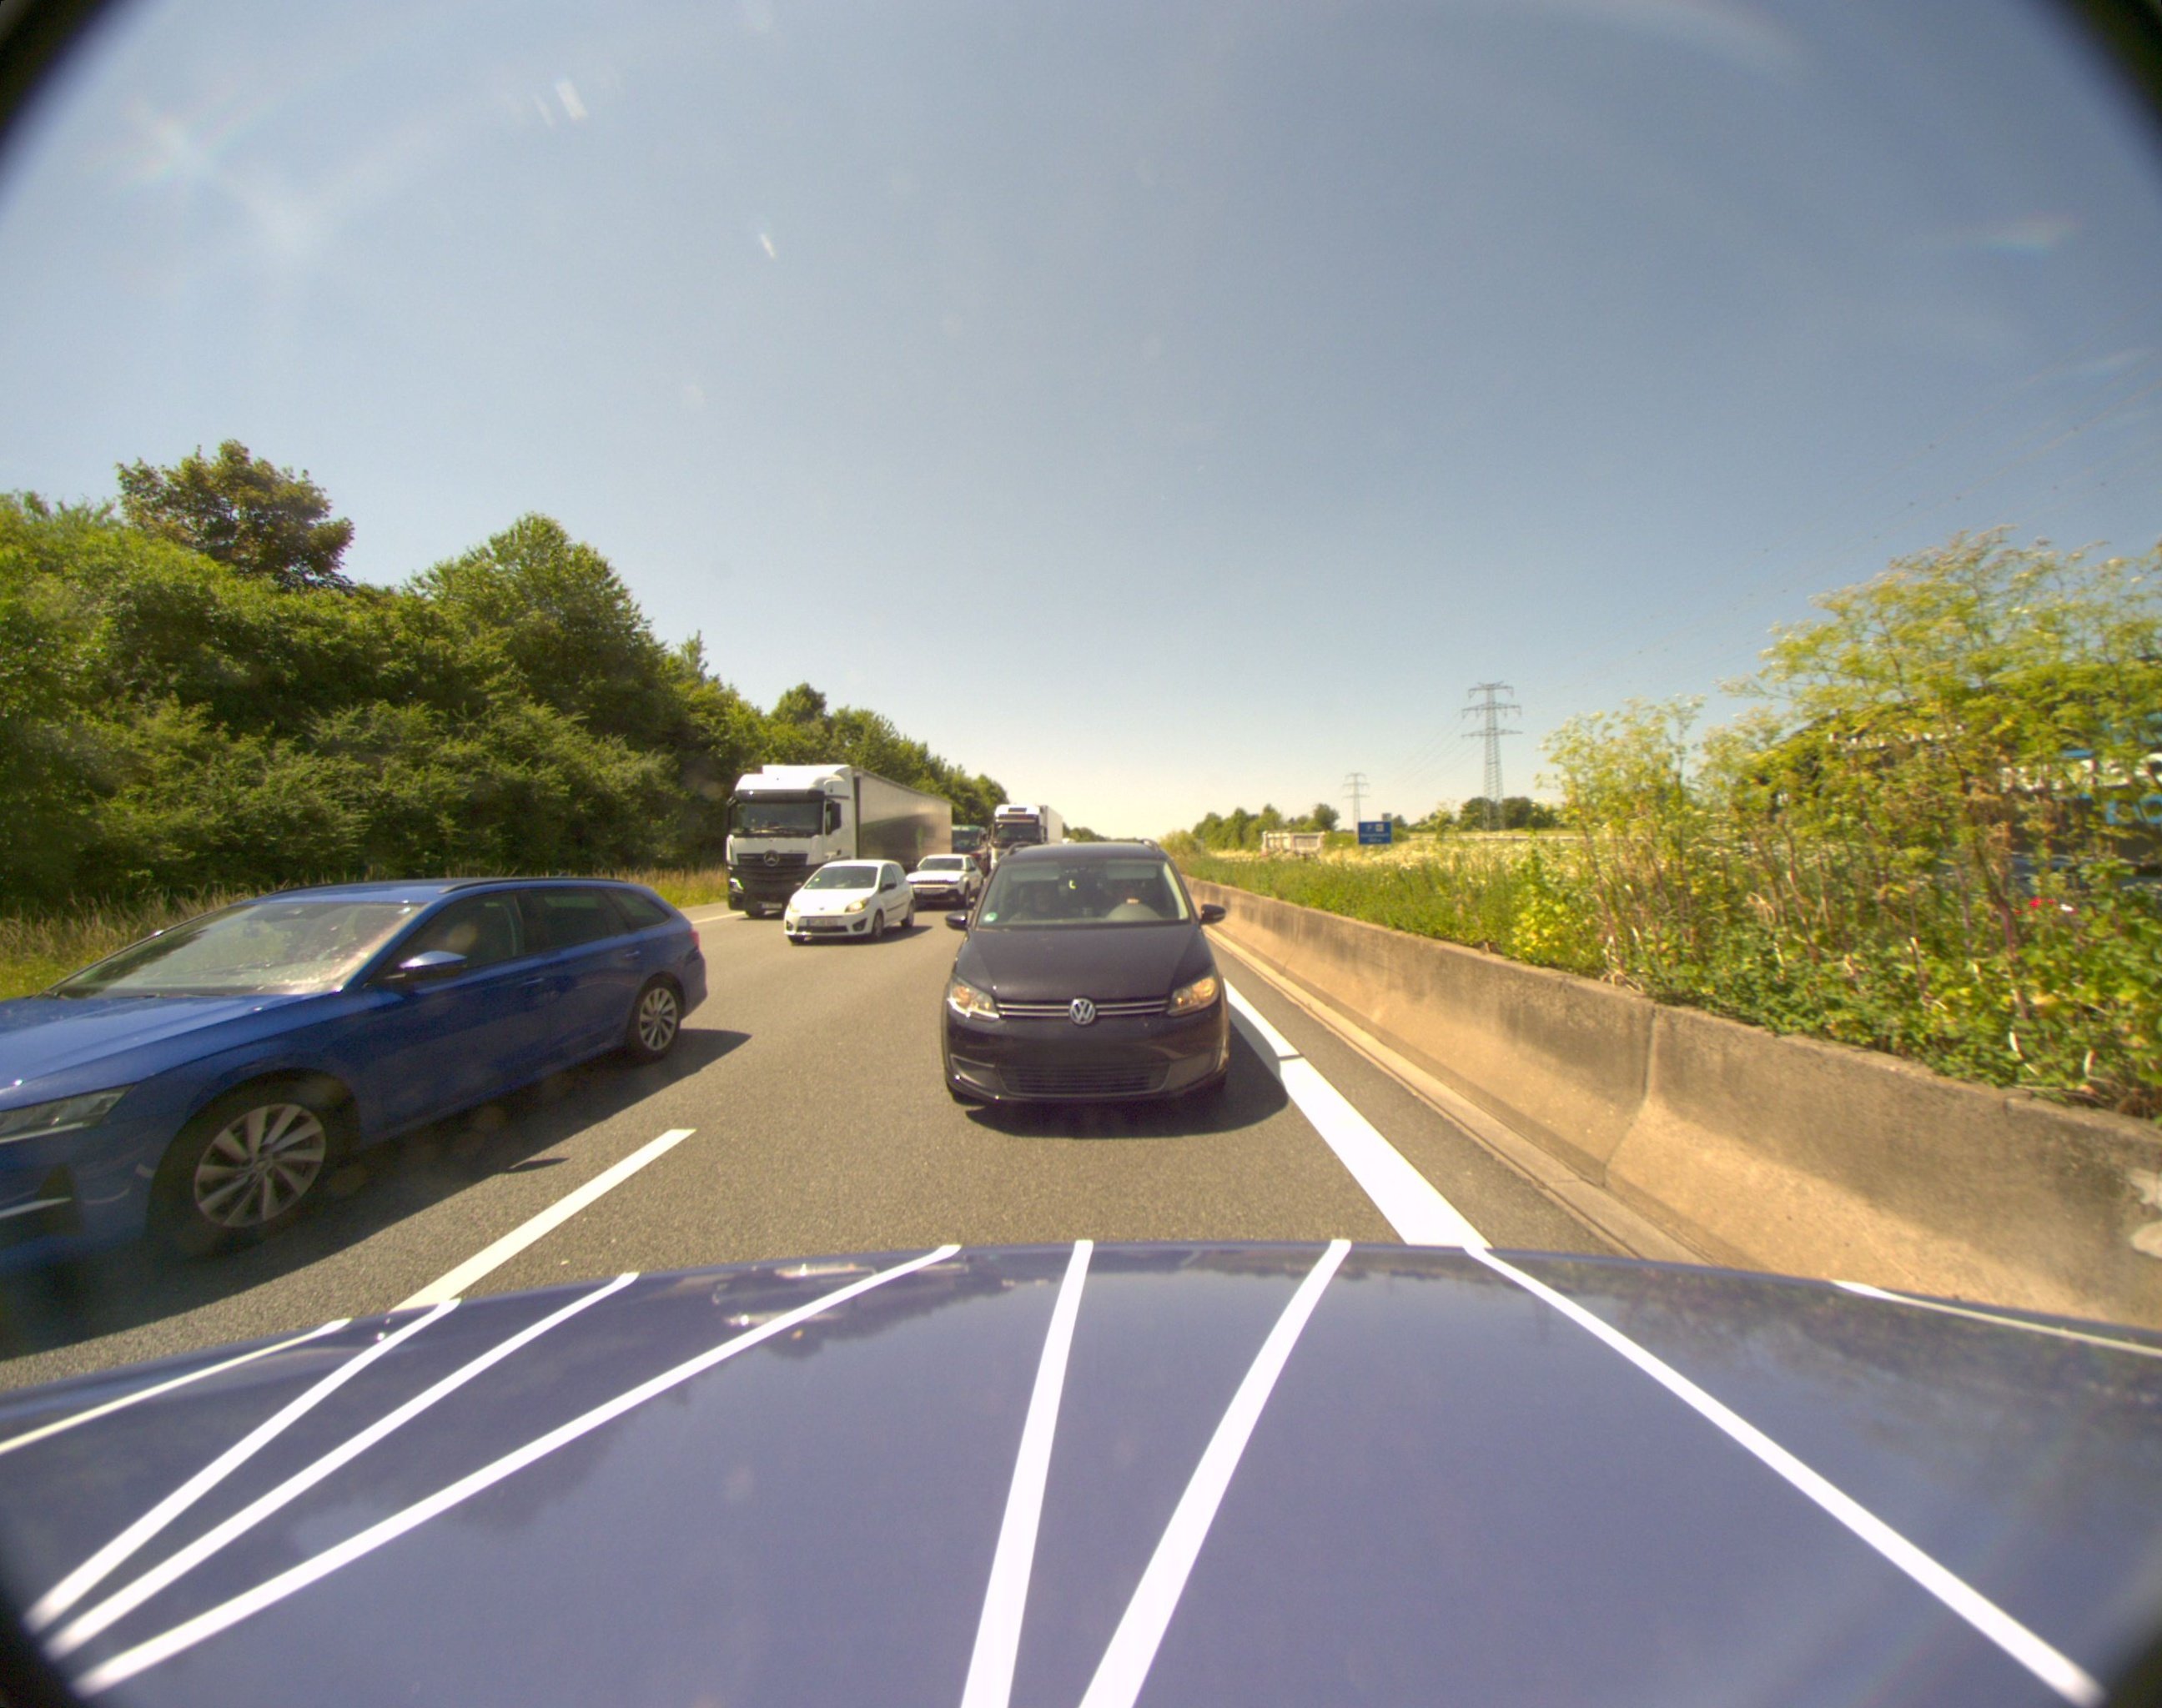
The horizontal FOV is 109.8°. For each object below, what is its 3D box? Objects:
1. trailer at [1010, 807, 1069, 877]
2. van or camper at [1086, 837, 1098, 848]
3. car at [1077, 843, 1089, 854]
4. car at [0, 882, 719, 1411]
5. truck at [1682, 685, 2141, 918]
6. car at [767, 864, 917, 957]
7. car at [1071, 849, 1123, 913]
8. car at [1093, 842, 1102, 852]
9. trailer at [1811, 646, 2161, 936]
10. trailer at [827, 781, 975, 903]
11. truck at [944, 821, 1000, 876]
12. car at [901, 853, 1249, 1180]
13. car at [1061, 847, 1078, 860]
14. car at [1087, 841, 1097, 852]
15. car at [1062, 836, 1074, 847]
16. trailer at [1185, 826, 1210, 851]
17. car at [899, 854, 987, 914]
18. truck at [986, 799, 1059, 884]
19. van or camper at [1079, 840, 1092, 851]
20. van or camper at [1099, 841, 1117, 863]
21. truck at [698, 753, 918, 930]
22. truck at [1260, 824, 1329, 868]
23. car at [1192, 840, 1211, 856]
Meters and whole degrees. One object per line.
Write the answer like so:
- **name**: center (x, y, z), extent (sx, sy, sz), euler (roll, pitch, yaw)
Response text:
- **trailer**: center (-2.478, -0.774, 48.512), extent (2.776, 3.951, 9.156), euler (-1, 1, 3)
- **van or camper**: center (2.786, -2.831, 194.209), extent (2.745, 2.680, 5.363), euler (-2, 1, 2)
- **car**: center (0.320, -0.949, 125.686), extent (1.652, 1.636, 4.000), euler (-1, 1, 3)
- **car**: center (-4.173, 0.998, 4.374), extent (1.780, 1.408, 4.572), euler (0, 1, 3)
- **truck**: center (15.519, -0.855, 14.953), extent (3.079, 3.688, 5.462), euler (-1, 1, 1)
- **car**: center (-4.421, 0.984, 14.682), extent (1.609, 1.426, 3.809), euler (0, 1, 1)
- **car**: center (0.503, 0.731, 22.312), extent (1.357, 1.630, 2.994), euler (-3, 1, 3)
- **car**: center (4.031, -1.605, 181.334), extent (1.998, 2.302, 4.229), euler (-2, 1, 2)
- **trailer**: center (15.485, -0.846, 10.586), extent (3.132, 3.737, 7.869), euler (-1, 1, 1)
- **trailer**: center (-7.011, -0.489, 32.125), extent (2.880, 4.133, 12.075), euler (-2, 1, 2)
- **truck**: center (-6.673, -0.349, 47.243), extent (2.299, 3.128, 5.675), euler (-1, 1, 3)
- **car**: center (0.058, 0.843, 6.551), extent (1.758, 1.571, 5.291), euler (-1, 1, 2)
- **car**: center (-1.324, -0.061, 88.978), extent (1.650, 1.336, 3.381), euler (-1, 1, 3)
- **car**: center (2.319, -1.561, 162.429), extent (1.998, 2.302, 4.229), euler (-2, 1, 1)
- **car**: center (-2.398, -2.320, 139.986), extent (1.998, 2.002, 4.000), euler (-2, 1, 2)
- **trailer**: center (20.760, -2.709, 135.596), extent (3.019, 4.203, 10.980), euler (-2, 1, 2)
- **car**: center (-3.945, 0.807, 22.326), extent (1.748, 1.549, 3.884), euler (0, 1, 2)
- **truck**: center (-2.900, -0.658, 40.369), extent (2.750, 3.972, 8.361), euler (-1, 1, 3)
- **van or camper**: center (0.908, -1.601, 142.136), extent (2.189, 2.018, 4.364), euler (-1, 1, 3)
- **van or camper**: center (3.279, -0.270, 90.778), extent (1.956, 2.368, 4.037), euler (-3, 1, 3)
- **truck**: center (-7.391, -0.344, 22.259), extent (2.879, 4.133, 8.475), euler (-1, 1, 3)
- **truck**: center (17.388, -0.658, 62.768), extent (2.771, 3.269, 11.820), euler (-1, 1, 2)
- **car**: center (14.379, -0.708, 90.643), extent (1.609, 1.777, 4.026), euler (-1, 1, 1)
